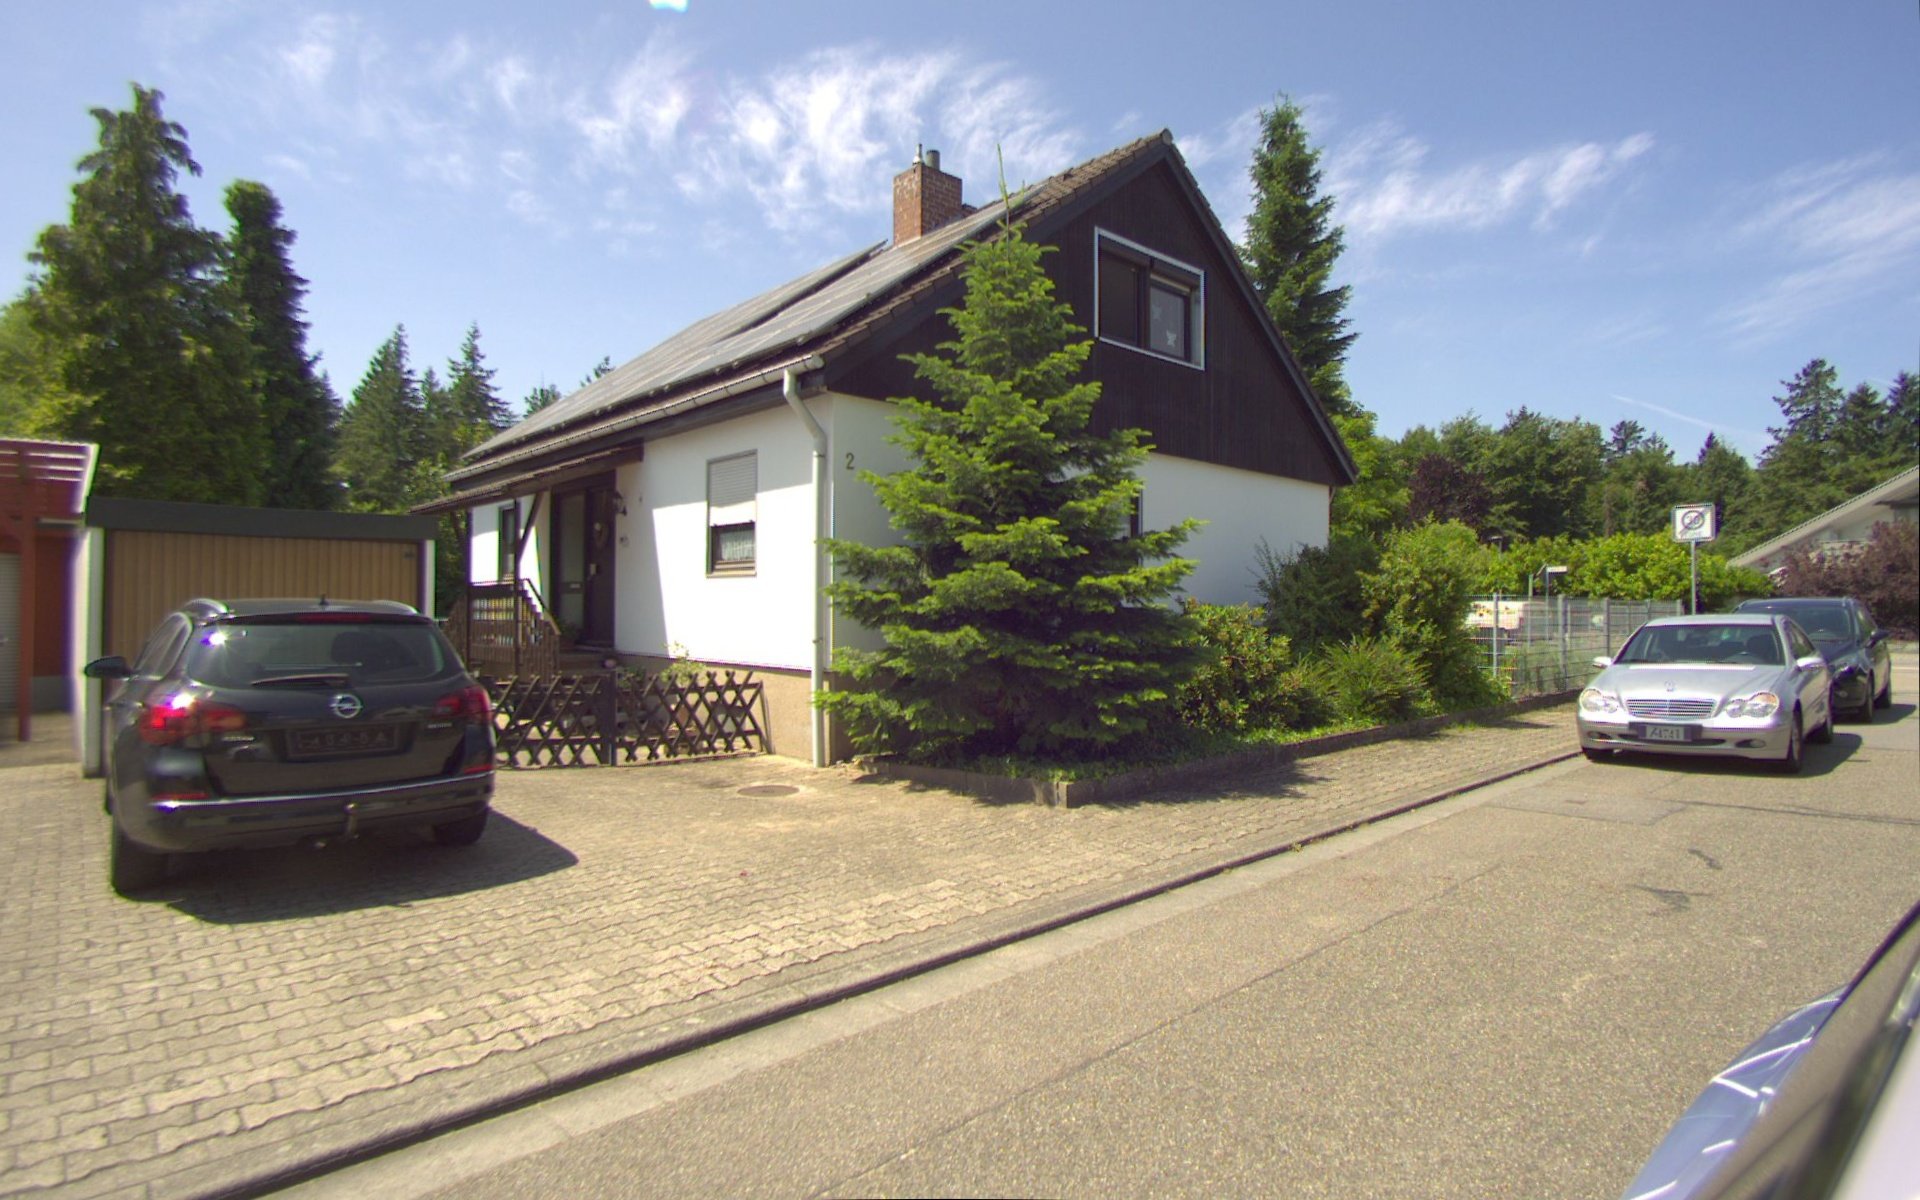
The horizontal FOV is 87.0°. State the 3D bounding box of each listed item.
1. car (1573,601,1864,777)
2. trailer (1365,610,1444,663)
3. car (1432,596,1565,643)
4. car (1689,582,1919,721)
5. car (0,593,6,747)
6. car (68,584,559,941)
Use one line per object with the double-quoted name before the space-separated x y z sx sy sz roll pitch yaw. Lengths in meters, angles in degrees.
"car" 8.068 0.754 10.607 4.263 1.478 1.689 0 0 -42
"trailer" 9.999 0.790 22.738 1.101 1.098 2.191 0 0 39
"car" 22.869 0.785 43.239 1.977 1.880 5.078 0 0 -18
"car" 12.267 0.633 14.588 4.602 1.683 1.965 0 0 -42
"car" -11.965 0.718 11.312 1.840 1.587 4.059 0 0 -44
"car" -4.386 0.686 6.527 1.966 1.505 4.245 1 0 -43
